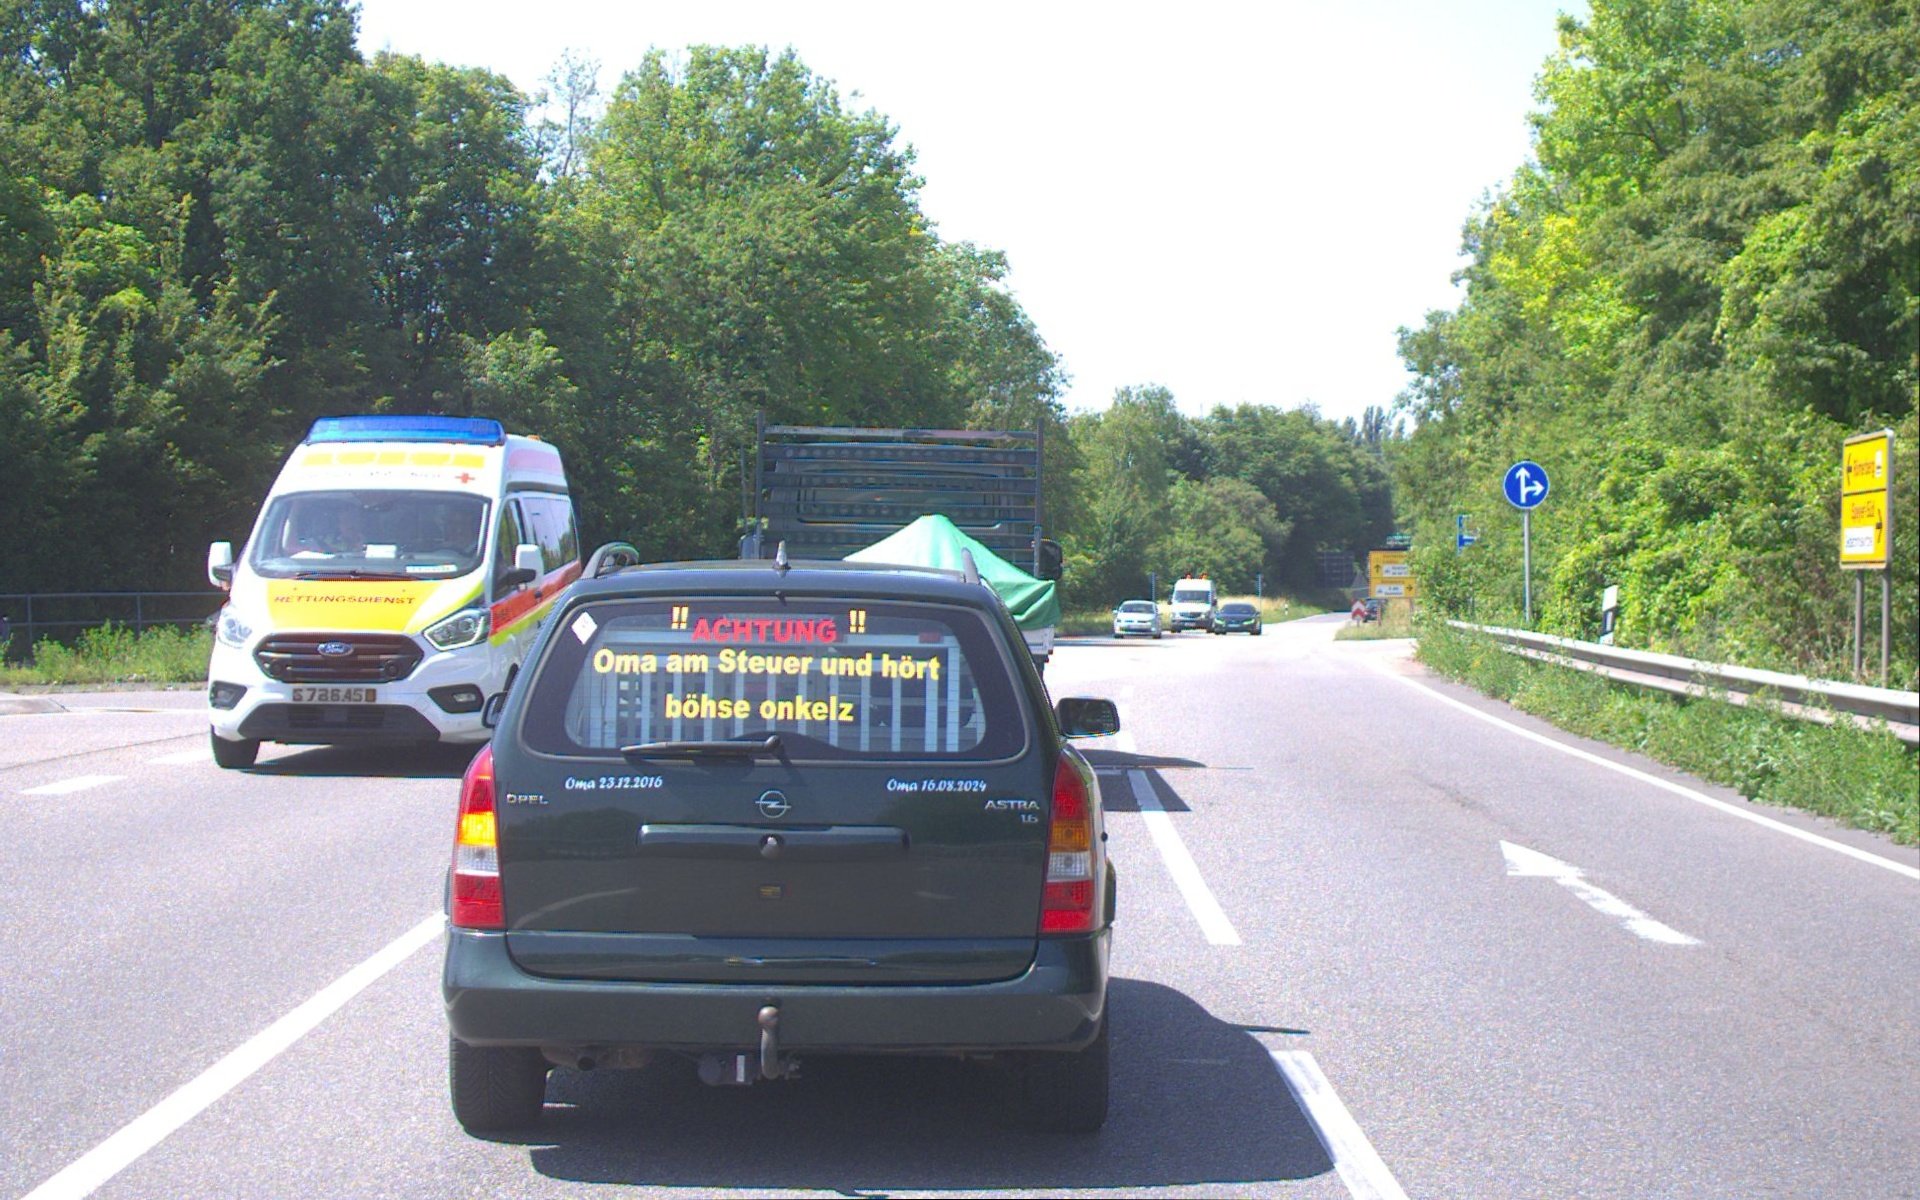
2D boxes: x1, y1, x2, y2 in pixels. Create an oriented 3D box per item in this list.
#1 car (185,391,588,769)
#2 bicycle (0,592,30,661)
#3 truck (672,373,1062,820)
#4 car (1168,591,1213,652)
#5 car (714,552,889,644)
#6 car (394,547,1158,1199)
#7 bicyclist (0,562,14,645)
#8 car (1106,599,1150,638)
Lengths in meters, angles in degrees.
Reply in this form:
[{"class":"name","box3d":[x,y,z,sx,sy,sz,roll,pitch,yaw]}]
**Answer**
[{"class":"car","box3d":[-3.915,-0.175,24.371,1.990,2.360,5.182,1,1,0]},{"class":"bicycle","box3d":[-15.990,0.440,56.374,0.436,1.109,1.479,0,1,34]},{"class":"truck","box3d":[-0.443,-0.070,23.184,2.139,2.556,6.639,1,1,2]},{"class":"car","box3d":[11.174,1.021,166.400,2.105,2.840,6.011,1,0,4]},{"class":"car","box3d":[-3.415,-0.082,75.296,2.012,1.917,5.189,1,1,19]},{"class":"car","box3d":[-0.402,0.596,9.721,1.720,1.452,3.797,1,1,1]},{"class":"bicyclist","box3d":[-15.980,0.059,56.374,0.689,1.358,0.608,1,1,35]},{"class":"car","box3d":[6.389,0.692,130.719,1.644,1.414,3.766,1,0,3]}]
